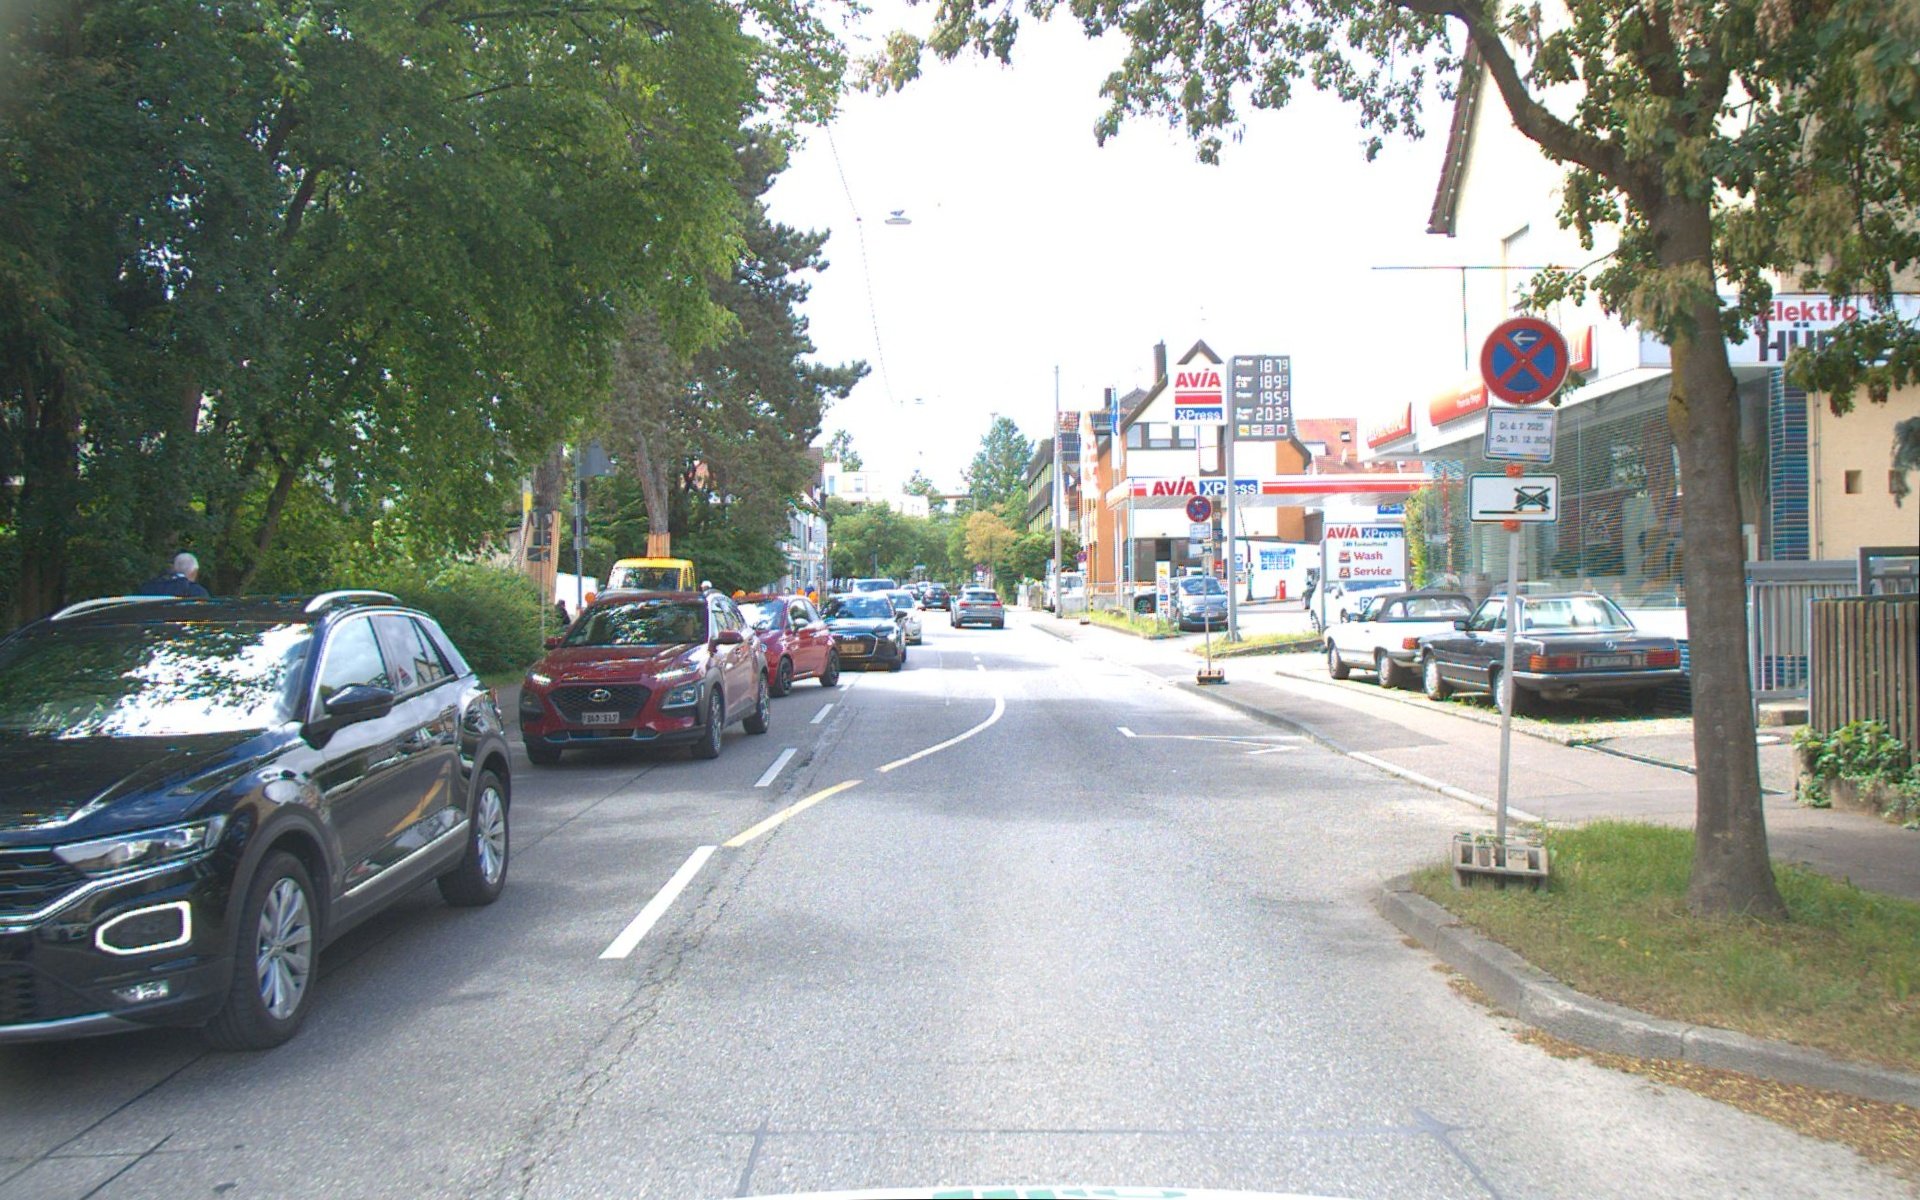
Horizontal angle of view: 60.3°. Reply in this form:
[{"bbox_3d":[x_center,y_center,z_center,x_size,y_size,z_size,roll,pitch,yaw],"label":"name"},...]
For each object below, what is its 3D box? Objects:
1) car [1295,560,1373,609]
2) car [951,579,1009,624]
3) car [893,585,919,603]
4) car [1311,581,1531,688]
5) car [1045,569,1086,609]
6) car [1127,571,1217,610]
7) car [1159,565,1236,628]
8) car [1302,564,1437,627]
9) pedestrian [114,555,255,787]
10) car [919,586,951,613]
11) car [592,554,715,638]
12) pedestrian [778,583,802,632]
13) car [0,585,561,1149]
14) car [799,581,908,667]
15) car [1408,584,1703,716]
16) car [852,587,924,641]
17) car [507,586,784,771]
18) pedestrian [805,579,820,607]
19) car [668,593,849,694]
[{"bbox_3d":[14.104,-0.571,62.541,1.750,1.663,3.688,-4,0,-6],"label":"car"},{"bbox_3d":[0.713,0.043,62.983,1.936,1.539,4.265,3,0,-2],"label":"car"},{"bbox_3d":[-4.732,-0.547,145.880,2.067,1.527,4.268,-1,0,1],"label":"car"},{"bbox_3d":[6.588,0.436,24.129,1.689,1.387,4.481,-1,0,-4],"label":"car"},{"bbox_3d":[5.543,-0.567,87.559,1.952,2.049,4.000,0,0,0],"label":"car"},{"bbox_3d":[9.398,-0.411,73.267,3.902,1.713,1.792,0,-1,8],"label":"car"},{"bbox_3d":[6.918,-0.128,48.494,1.747,1.663,3.693,-4,0,2],"label":"car"},{"bbox_3d":[9.427,-0.116,38.395,1.806,1.379,4.065,-1,0,-5],"label":"car"},{"bbox_3d":[-6.248,0.549,13.375,0.700,1.793,1.120,0,-1,-6],"label":"pedestrian"},{"bbox_3d":[-1.535,-0.039,99.187,1.780,1.527,4.264,1,0,-3],"label":"car"},{"bbox_3d":[-7.714,-0.081,42.072,2.101,2.015,4.931,0,0,1],"label":"car"},{"bbox_3d":[-5.147,0.228,50.142,0.691,1.464,0.713,0,-1,-5],"label":"pedestrian"},{"bbox_3d":[-3.073,0.756,6.798,1.752,1.568,4.264,-2,1,0],"label":"car"},{"bbox_3d":[-2.050,0.458,32.983,1.889,1.605,4.295,0,0,0],"label":"car"},{"bbox_3d":[6.684,0.491,19.079,1.690,1.339,4.264,0,0,-3],"label":"car"},{"bbox_3d":[-1.964,0.393,46.424,1.920,1.418,4.294,0,0,-1],"label":"car"},{"bbox_3d":[-2.995,0.679,16.629,1.725,1.560,4.098,-2,1,3],"label":"car"},{"bbox_3d":[-7.755,-0.350,86.852,0.690,1.464,0.714,0,-1,3],"label":"pedestrian"},{"bbox_3d":[-3.025,0.636,25.455,1.655,1.450,3.440,0,0,14],"label":"car"}]
